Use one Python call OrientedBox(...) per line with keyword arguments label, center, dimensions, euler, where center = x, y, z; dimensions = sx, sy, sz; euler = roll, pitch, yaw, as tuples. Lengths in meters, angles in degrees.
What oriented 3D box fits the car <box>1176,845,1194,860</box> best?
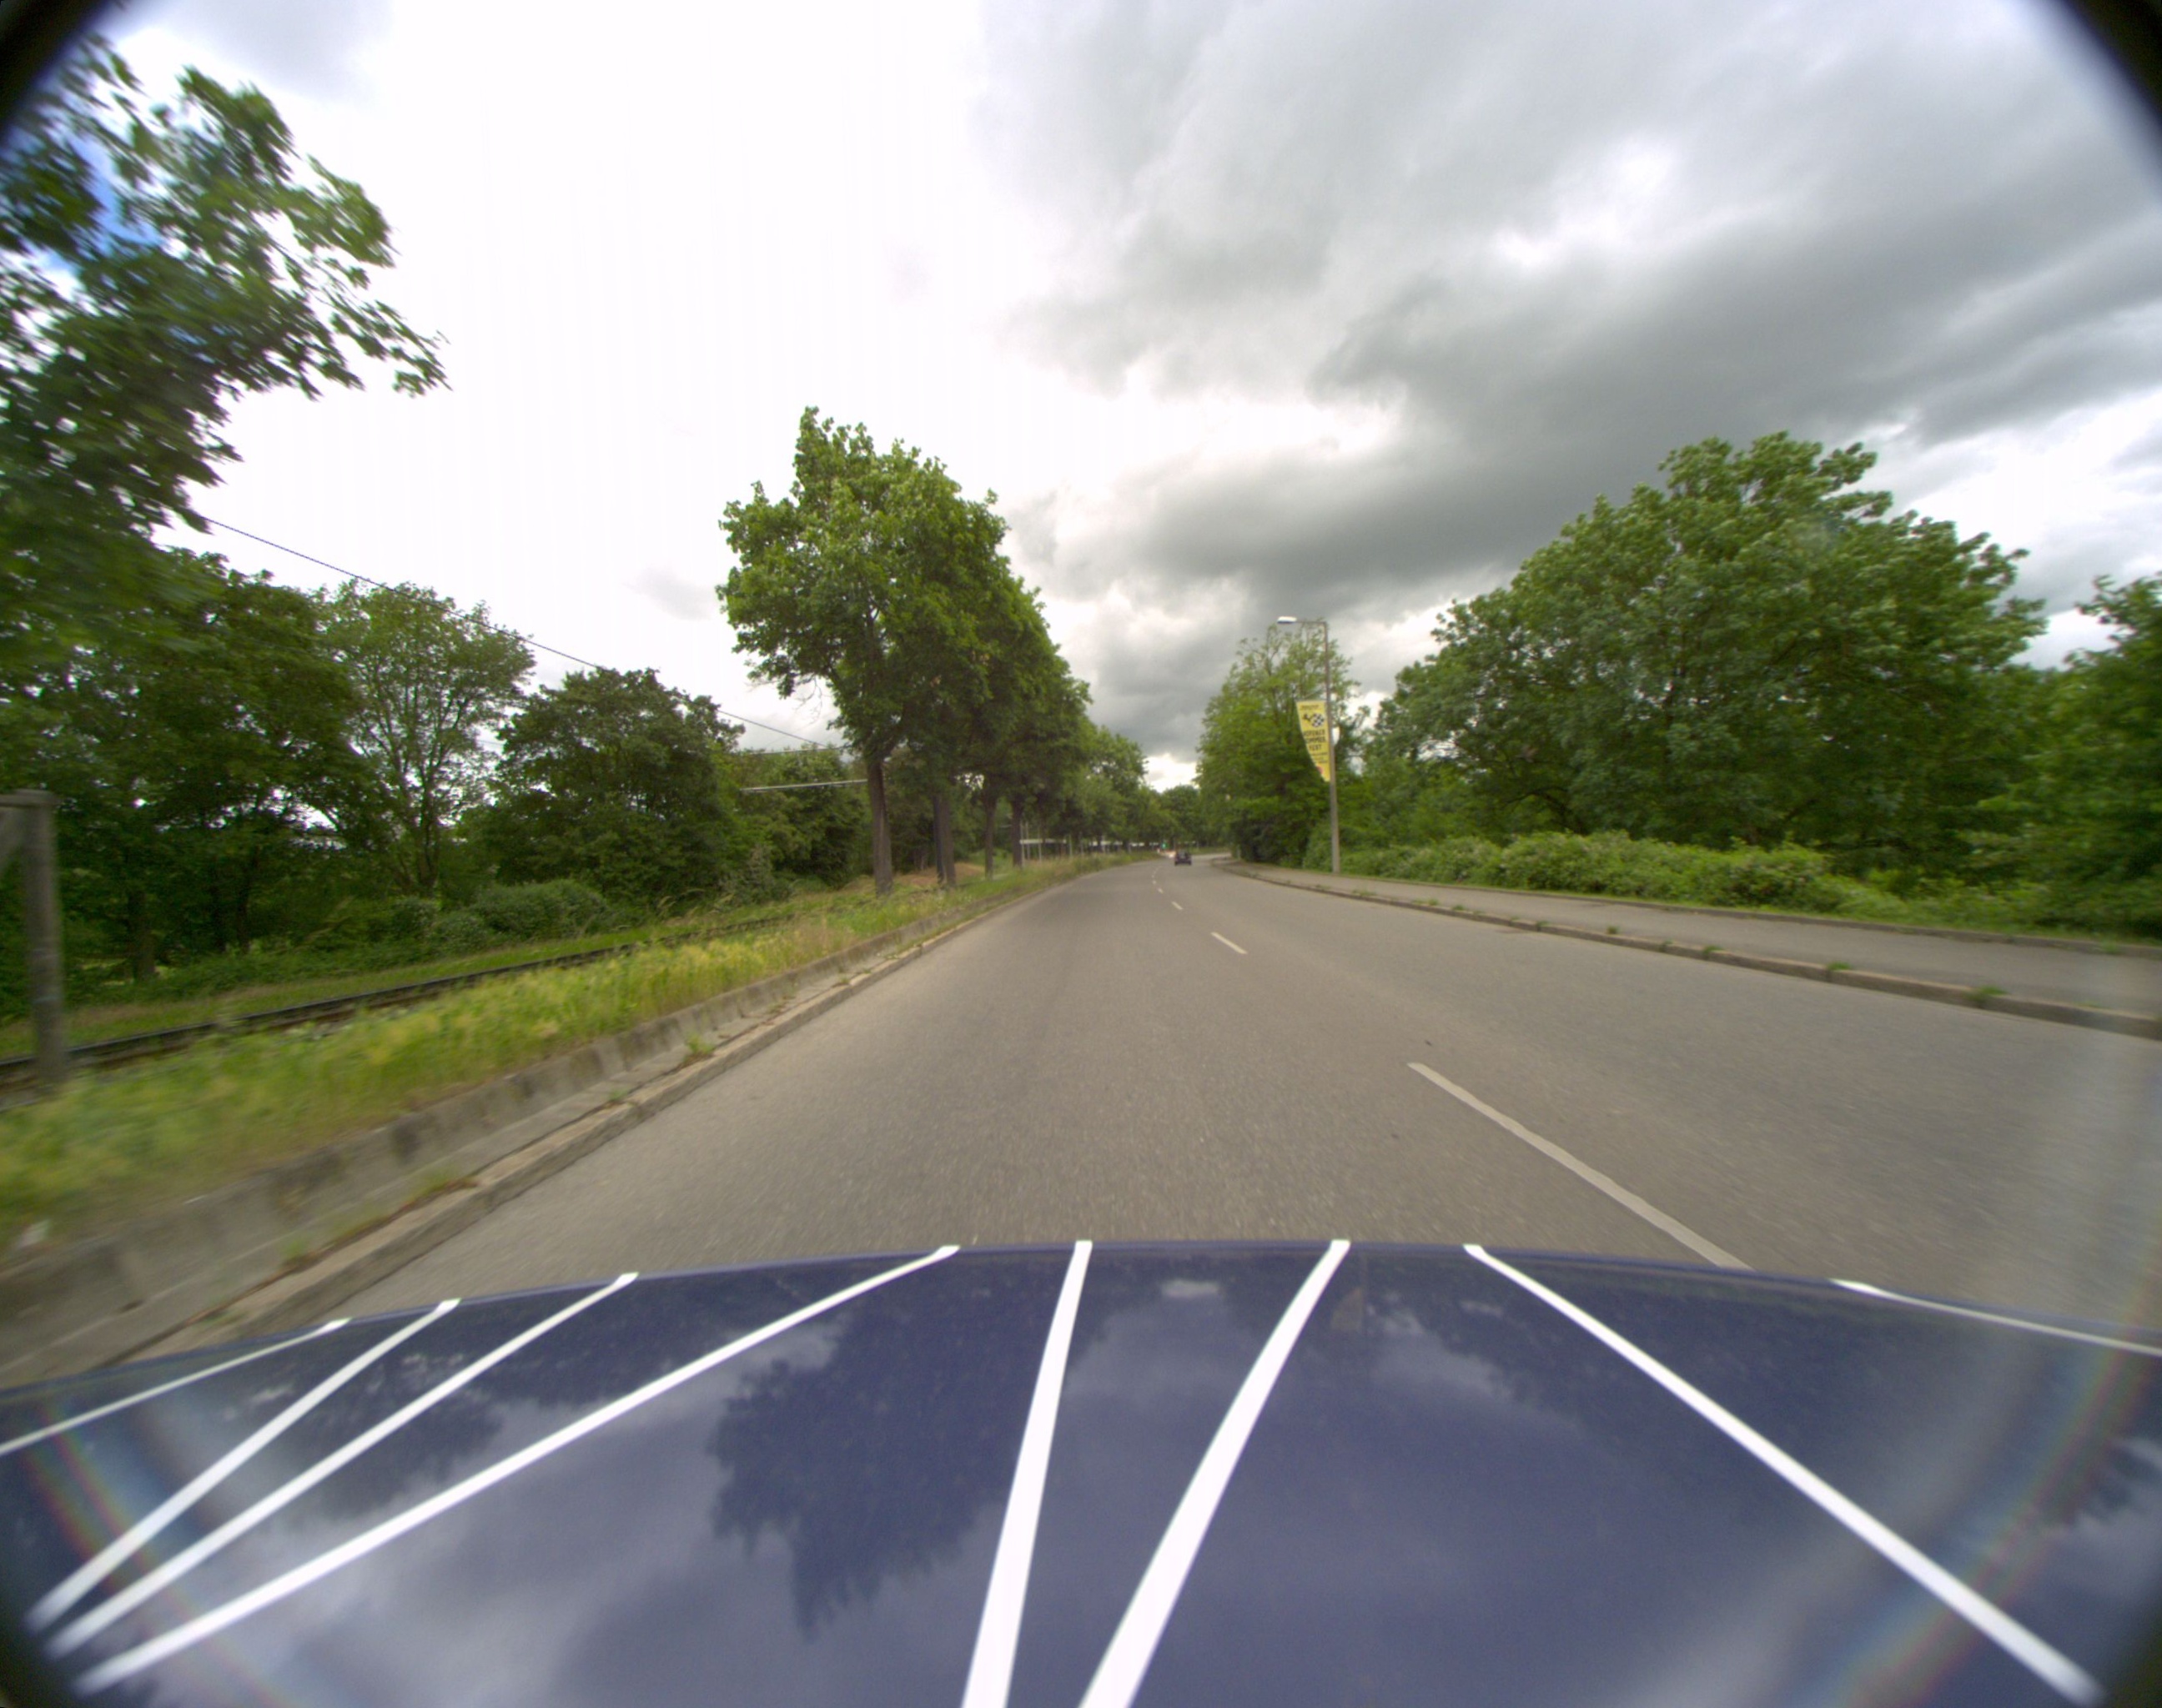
OrientedBox(label="car", center=(10.549, -0.179, 77.009), dimensions=(1.599, 1.497, 3.029), euler=(-2, 1, 5))
